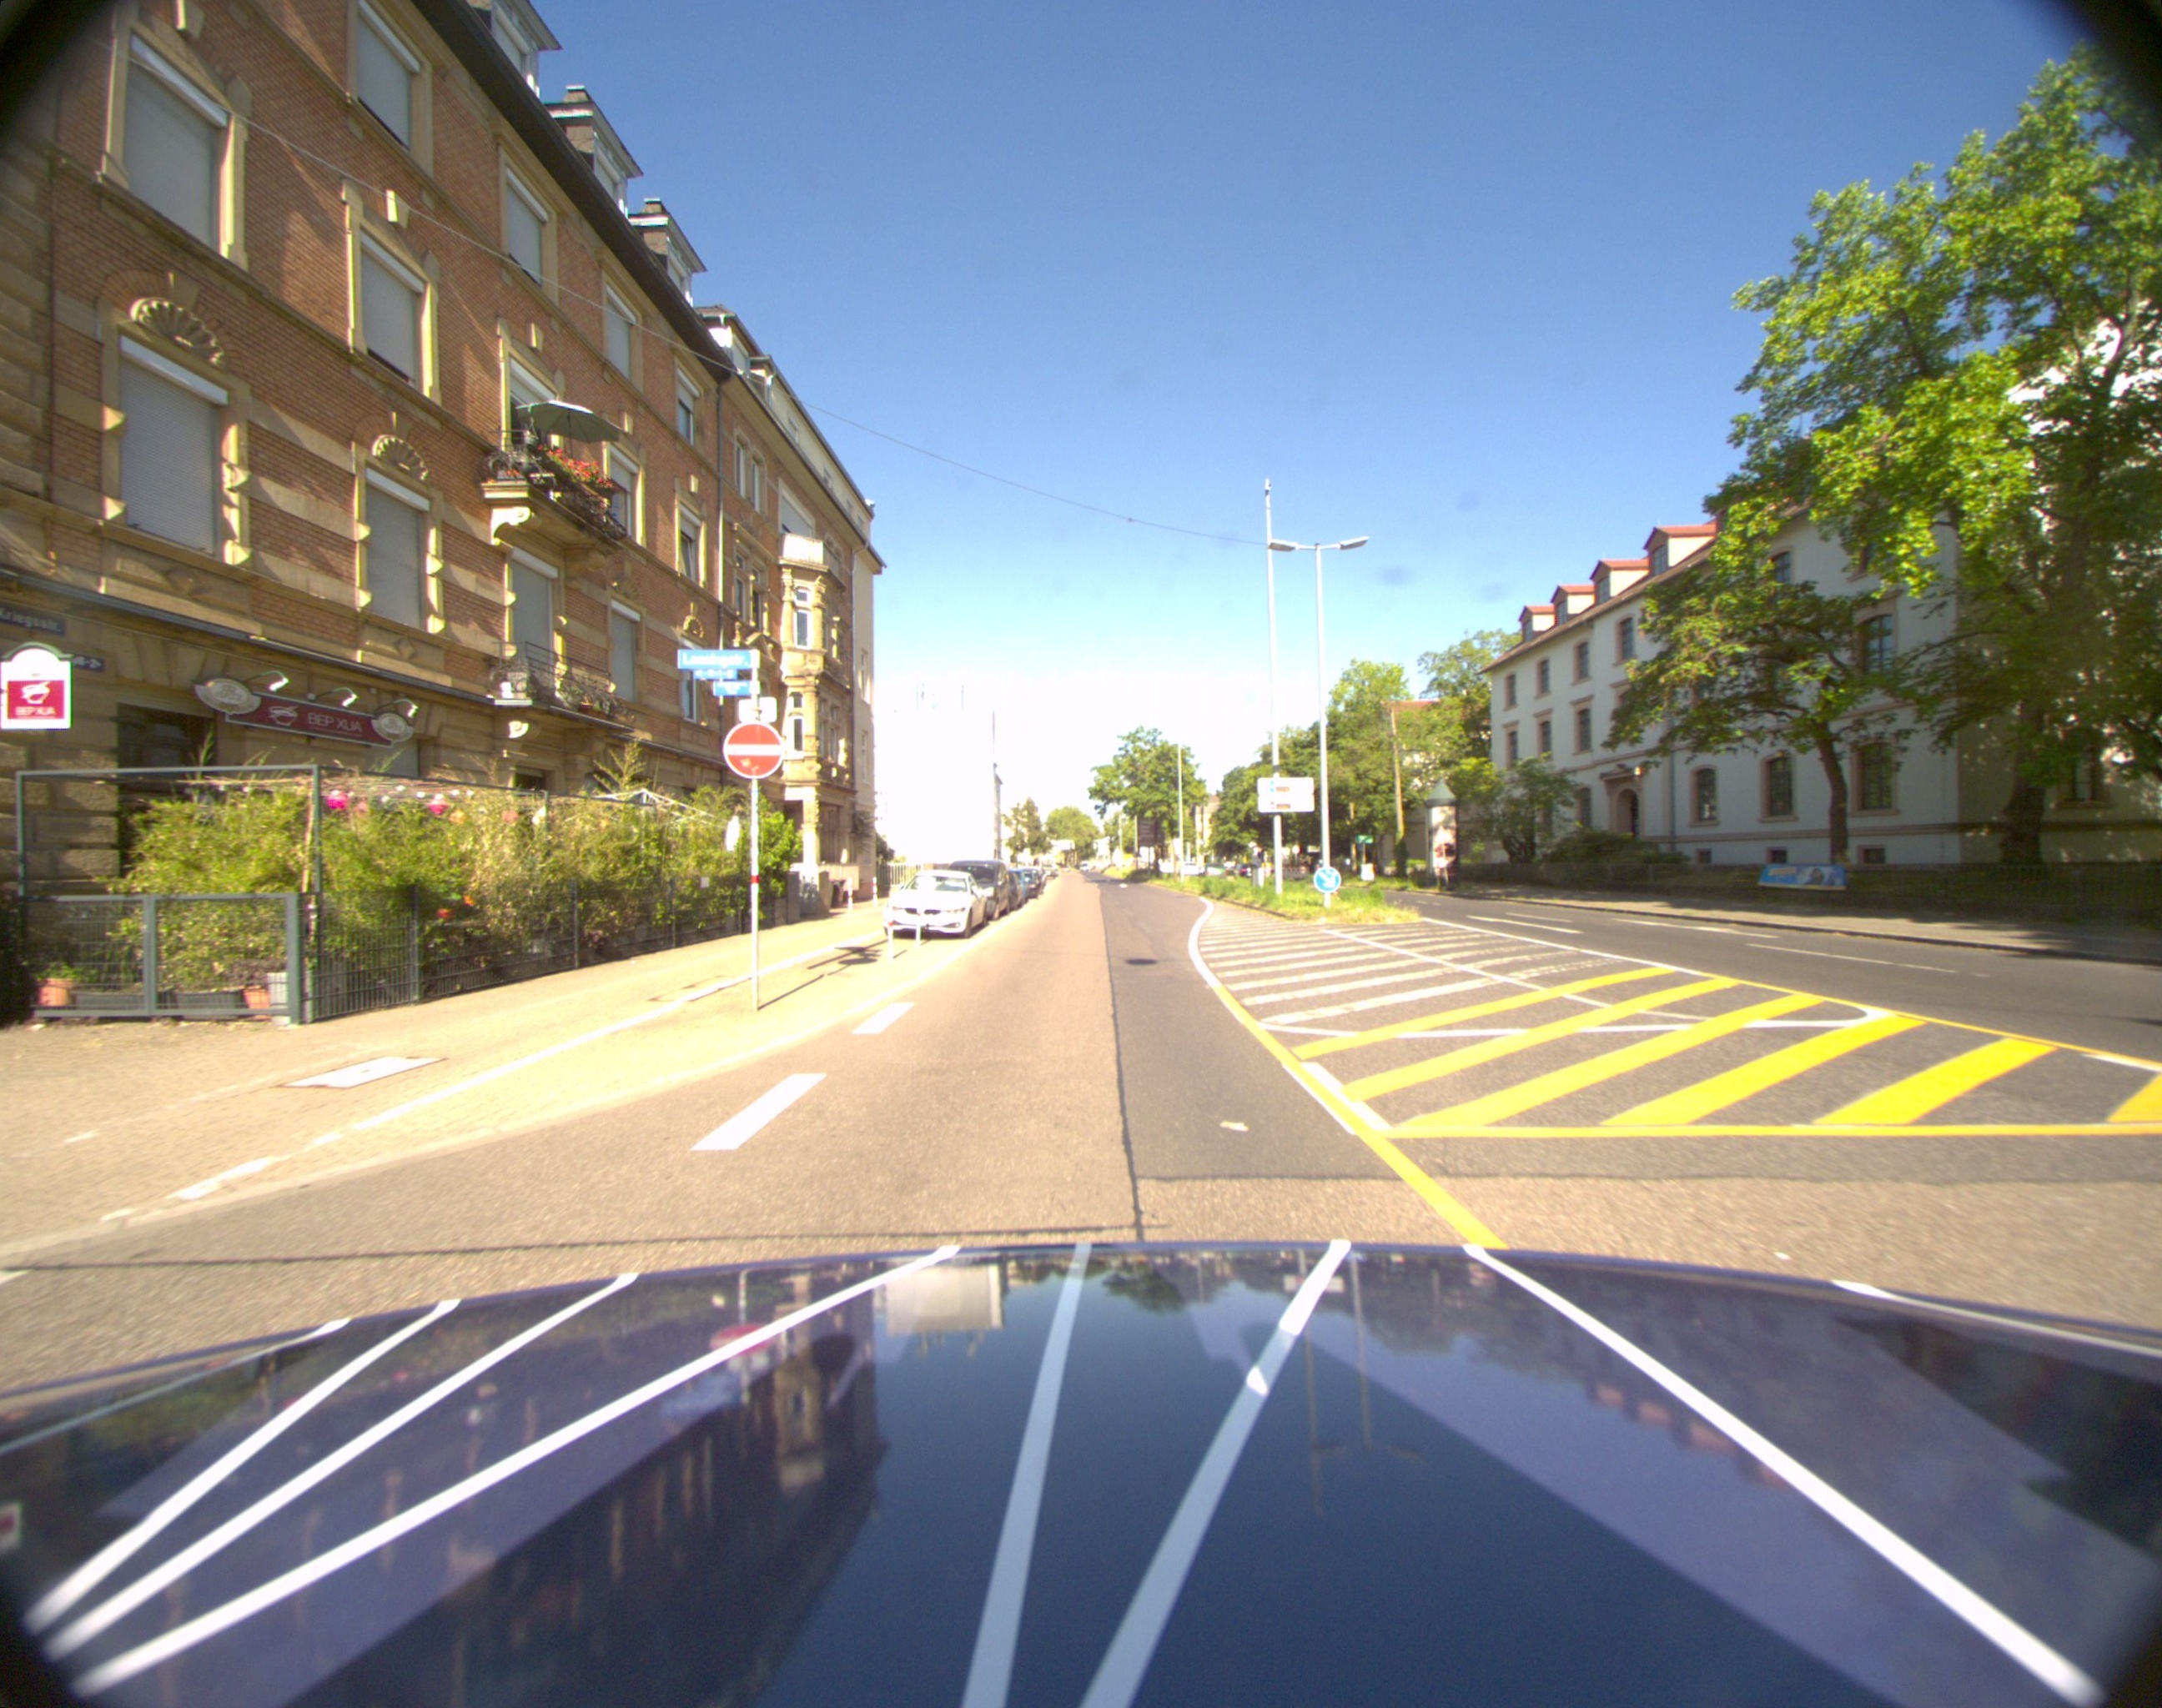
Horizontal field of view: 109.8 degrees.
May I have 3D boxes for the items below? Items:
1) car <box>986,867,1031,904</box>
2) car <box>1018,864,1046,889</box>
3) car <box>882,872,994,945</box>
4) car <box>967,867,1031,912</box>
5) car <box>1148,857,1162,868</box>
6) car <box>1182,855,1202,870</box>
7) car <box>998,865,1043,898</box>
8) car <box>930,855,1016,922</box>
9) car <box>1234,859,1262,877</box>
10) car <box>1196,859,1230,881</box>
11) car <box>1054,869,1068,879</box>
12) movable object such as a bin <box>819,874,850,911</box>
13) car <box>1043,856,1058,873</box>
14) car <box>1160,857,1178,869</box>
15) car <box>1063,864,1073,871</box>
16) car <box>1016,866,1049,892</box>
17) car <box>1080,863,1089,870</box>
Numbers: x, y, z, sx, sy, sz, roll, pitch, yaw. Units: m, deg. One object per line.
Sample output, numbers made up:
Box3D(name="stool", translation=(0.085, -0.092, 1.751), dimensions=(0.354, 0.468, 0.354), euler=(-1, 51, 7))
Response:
Box3D(name="car", translation=(-3.055, 1.317, 32.573), dimensions=(1.626, 1.462, 3.299), euler=(-2, -1, -1))
Box3D(name="car", translation=(-3.136, 1.396, 48.704), dimensions=(1.672, 1.510, 3.660), euler=(-1, 0, -4))
Box3D(name="car", translation=(-3.174, 1.171, 17.721), dimensions=(1.713, 1.417, 4.206), euler=(0, 0, 1))
Box3D(name="car", translation=(-2.940, 1.240, 27.933), dimensions=(1.672, 1.459, 4.275), euler=(-2, -1, 2))
Box3D(name="car", translation=(11.644, 1.248, 119.576), dimensions=(1.800, 1.510, 4.257), euler=(-2, 1, 0))
Box3D(name="car", translation=(12.387, 0.953, 84.973), dimensions=(1.905, 1.616, 4.538), euler=(0, 0, 4))
Box3D(name="car", translation=(-2.931, 1.304, 37.723), dimensions=(1.940, 1.510, 4.483), euler=(-1, -1, -1))
Box3D(name="car", translation=(-3.182, 0.990, 23.272), dimensions=(1.823, 1.833, 4.365), euler=(-1, 0, 2))
Box3D(name="car", translation=(15.138, 1.255, 69.030), dimensions=(1.800, 1.510, 4.425), euler=(-2, 0, 4))
Box3D(name="car", translation=(9.892, 1.167, 57.148), dimensions=(1.642, 1.510, 4.258), euler=(-1, 0, -1))
Box3D(name="car", translation=(-3.010, 2.944, 113.817), dimensions=(1.641, 1.439, 4.159), euler=(-1, -2, 6))
Box3D(name="movable object such as a bin", translation=(-8.192, 1.277, 25.288), dimensions=(0.760, 1.150, 0.608), euler=(-2, 3, 1))
Box3D(name="car", translation=(-3.684, 1.221, 92.540), dimensions=(1.664, 2.002, 4.775), euler=(0, 0, -1))
Box3D(name="car", translation=(11.853, 1.231, 102.746), dimensions=(1.843, 1.510, 4.666), euler=(-1, 0, 1))
Box3D(name="car", translation=(-3.078, 3.174, 181.948), dimensions=(1.882, 1.510, 4.002), euler=(-2, 0, 6))
Box3D(name="car", translation=(-2.689, 1.369, 42.827), dimensions=(1.672, 1.385, 3.775), euler=(-1, -1, -1))
Box3D(name="car", translation=(0.872, 2.975, 183.637), dimensions=(1.882, 1.511, 4.000), euler=(-2, 3, 6))
